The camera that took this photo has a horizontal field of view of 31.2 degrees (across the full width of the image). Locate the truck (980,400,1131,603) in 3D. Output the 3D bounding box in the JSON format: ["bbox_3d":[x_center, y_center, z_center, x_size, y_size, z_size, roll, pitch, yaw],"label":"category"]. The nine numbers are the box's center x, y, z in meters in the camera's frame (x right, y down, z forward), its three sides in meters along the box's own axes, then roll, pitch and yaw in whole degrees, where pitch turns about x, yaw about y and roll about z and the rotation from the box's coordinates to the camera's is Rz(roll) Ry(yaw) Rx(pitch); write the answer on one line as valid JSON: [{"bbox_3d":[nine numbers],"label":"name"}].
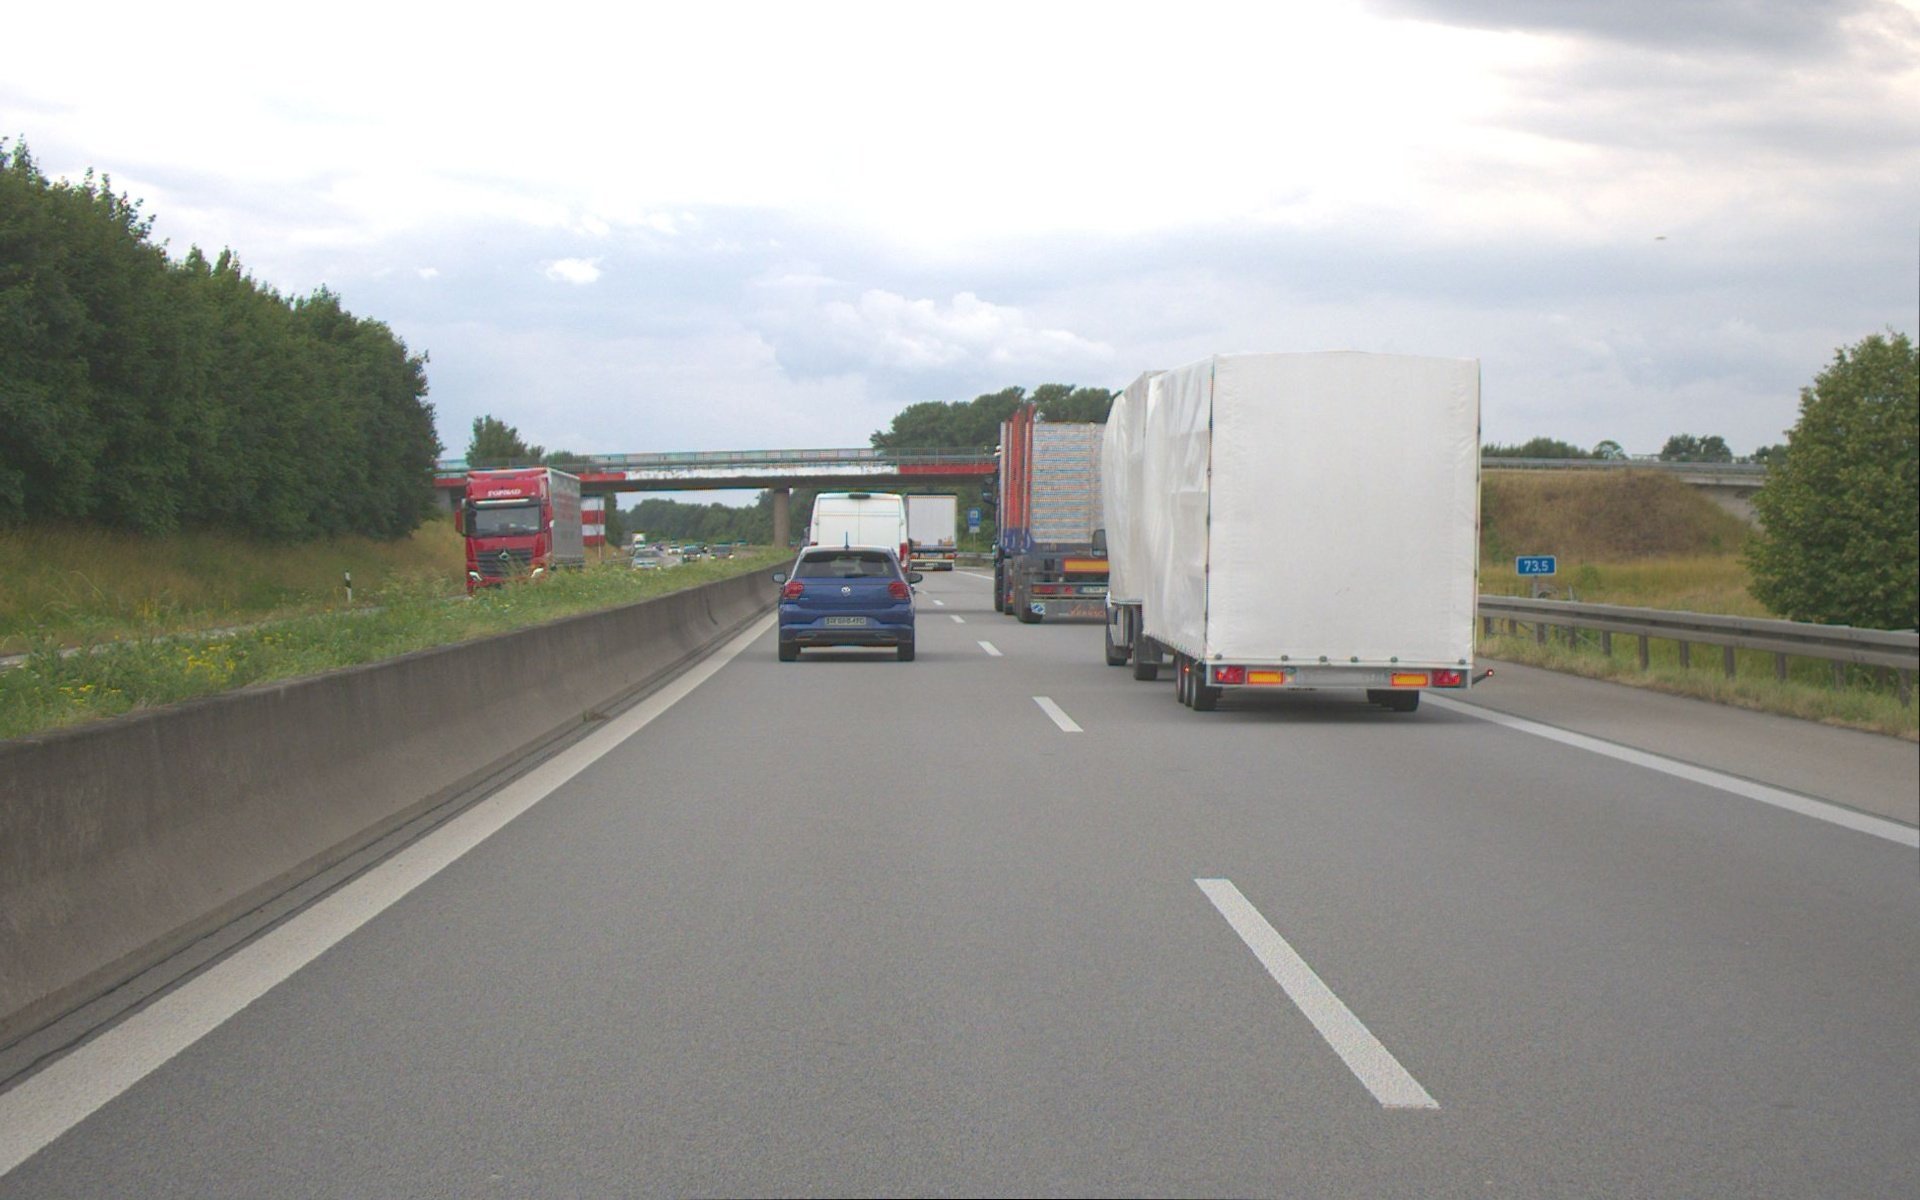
[{"bbox_3d":[1.934,-2.050,71.642,2.673,4.031,5.513,-1,2,-3],"label":"truck"}]

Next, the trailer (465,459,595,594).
[{"bbox_3d":[-14.109,-2.466,113.845,2.706,4.074,14.599,-2,2,-2],"label":"trailer"}]

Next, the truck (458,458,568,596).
[{"bbox_3d":[-13.872,-2.286,106.922,2.706,4.074,5.165,-2,1,-2],"label":"truck"}]

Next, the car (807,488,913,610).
[{"bbox_3d":[-2.132,-1.088,72.788,2.130,2.474,5.840,0,1,-2],"label":"car"}]

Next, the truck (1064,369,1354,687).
[{"bbox_3d":[2.640,-0.796,38.559,2.429,3.232,7.248,0,1,-2],"label":"truck"}]

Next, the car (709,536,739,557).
[{"bbox_3d":[-16.798,-3.802,244.921,1.848,1.373,4.601,-3,1,-2],"label":"car"}]

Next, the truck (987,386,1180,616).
[{"bbox_3d":[2.227,-1.902,66.219,2.673,4.031,11.109,-1,2,-3],"label":"truck"}]

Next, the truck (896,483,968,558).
[{"bbox_3d":[-1.508,-4.124,179.736,3.110,3.677,9.324,-2,1,-3],"label":"truck"}]

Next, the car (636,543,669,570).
[{"bbox_3d":[-16.919,-2.384,189.226,1.646,1.404,3.889,-3,1,-3],"label":"car"}]

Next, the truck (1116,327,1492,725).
[{"bbox_3d":[2.946,-0.659,31.366,2.415,3.211,7.144,0,1,-2],"label":"truck"}]

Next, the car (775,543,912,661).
[{"bbox_3d":[-1.472,-0.005,43.802,1.663,1.402,3.649,0,1,-2],"label":"car"}]
